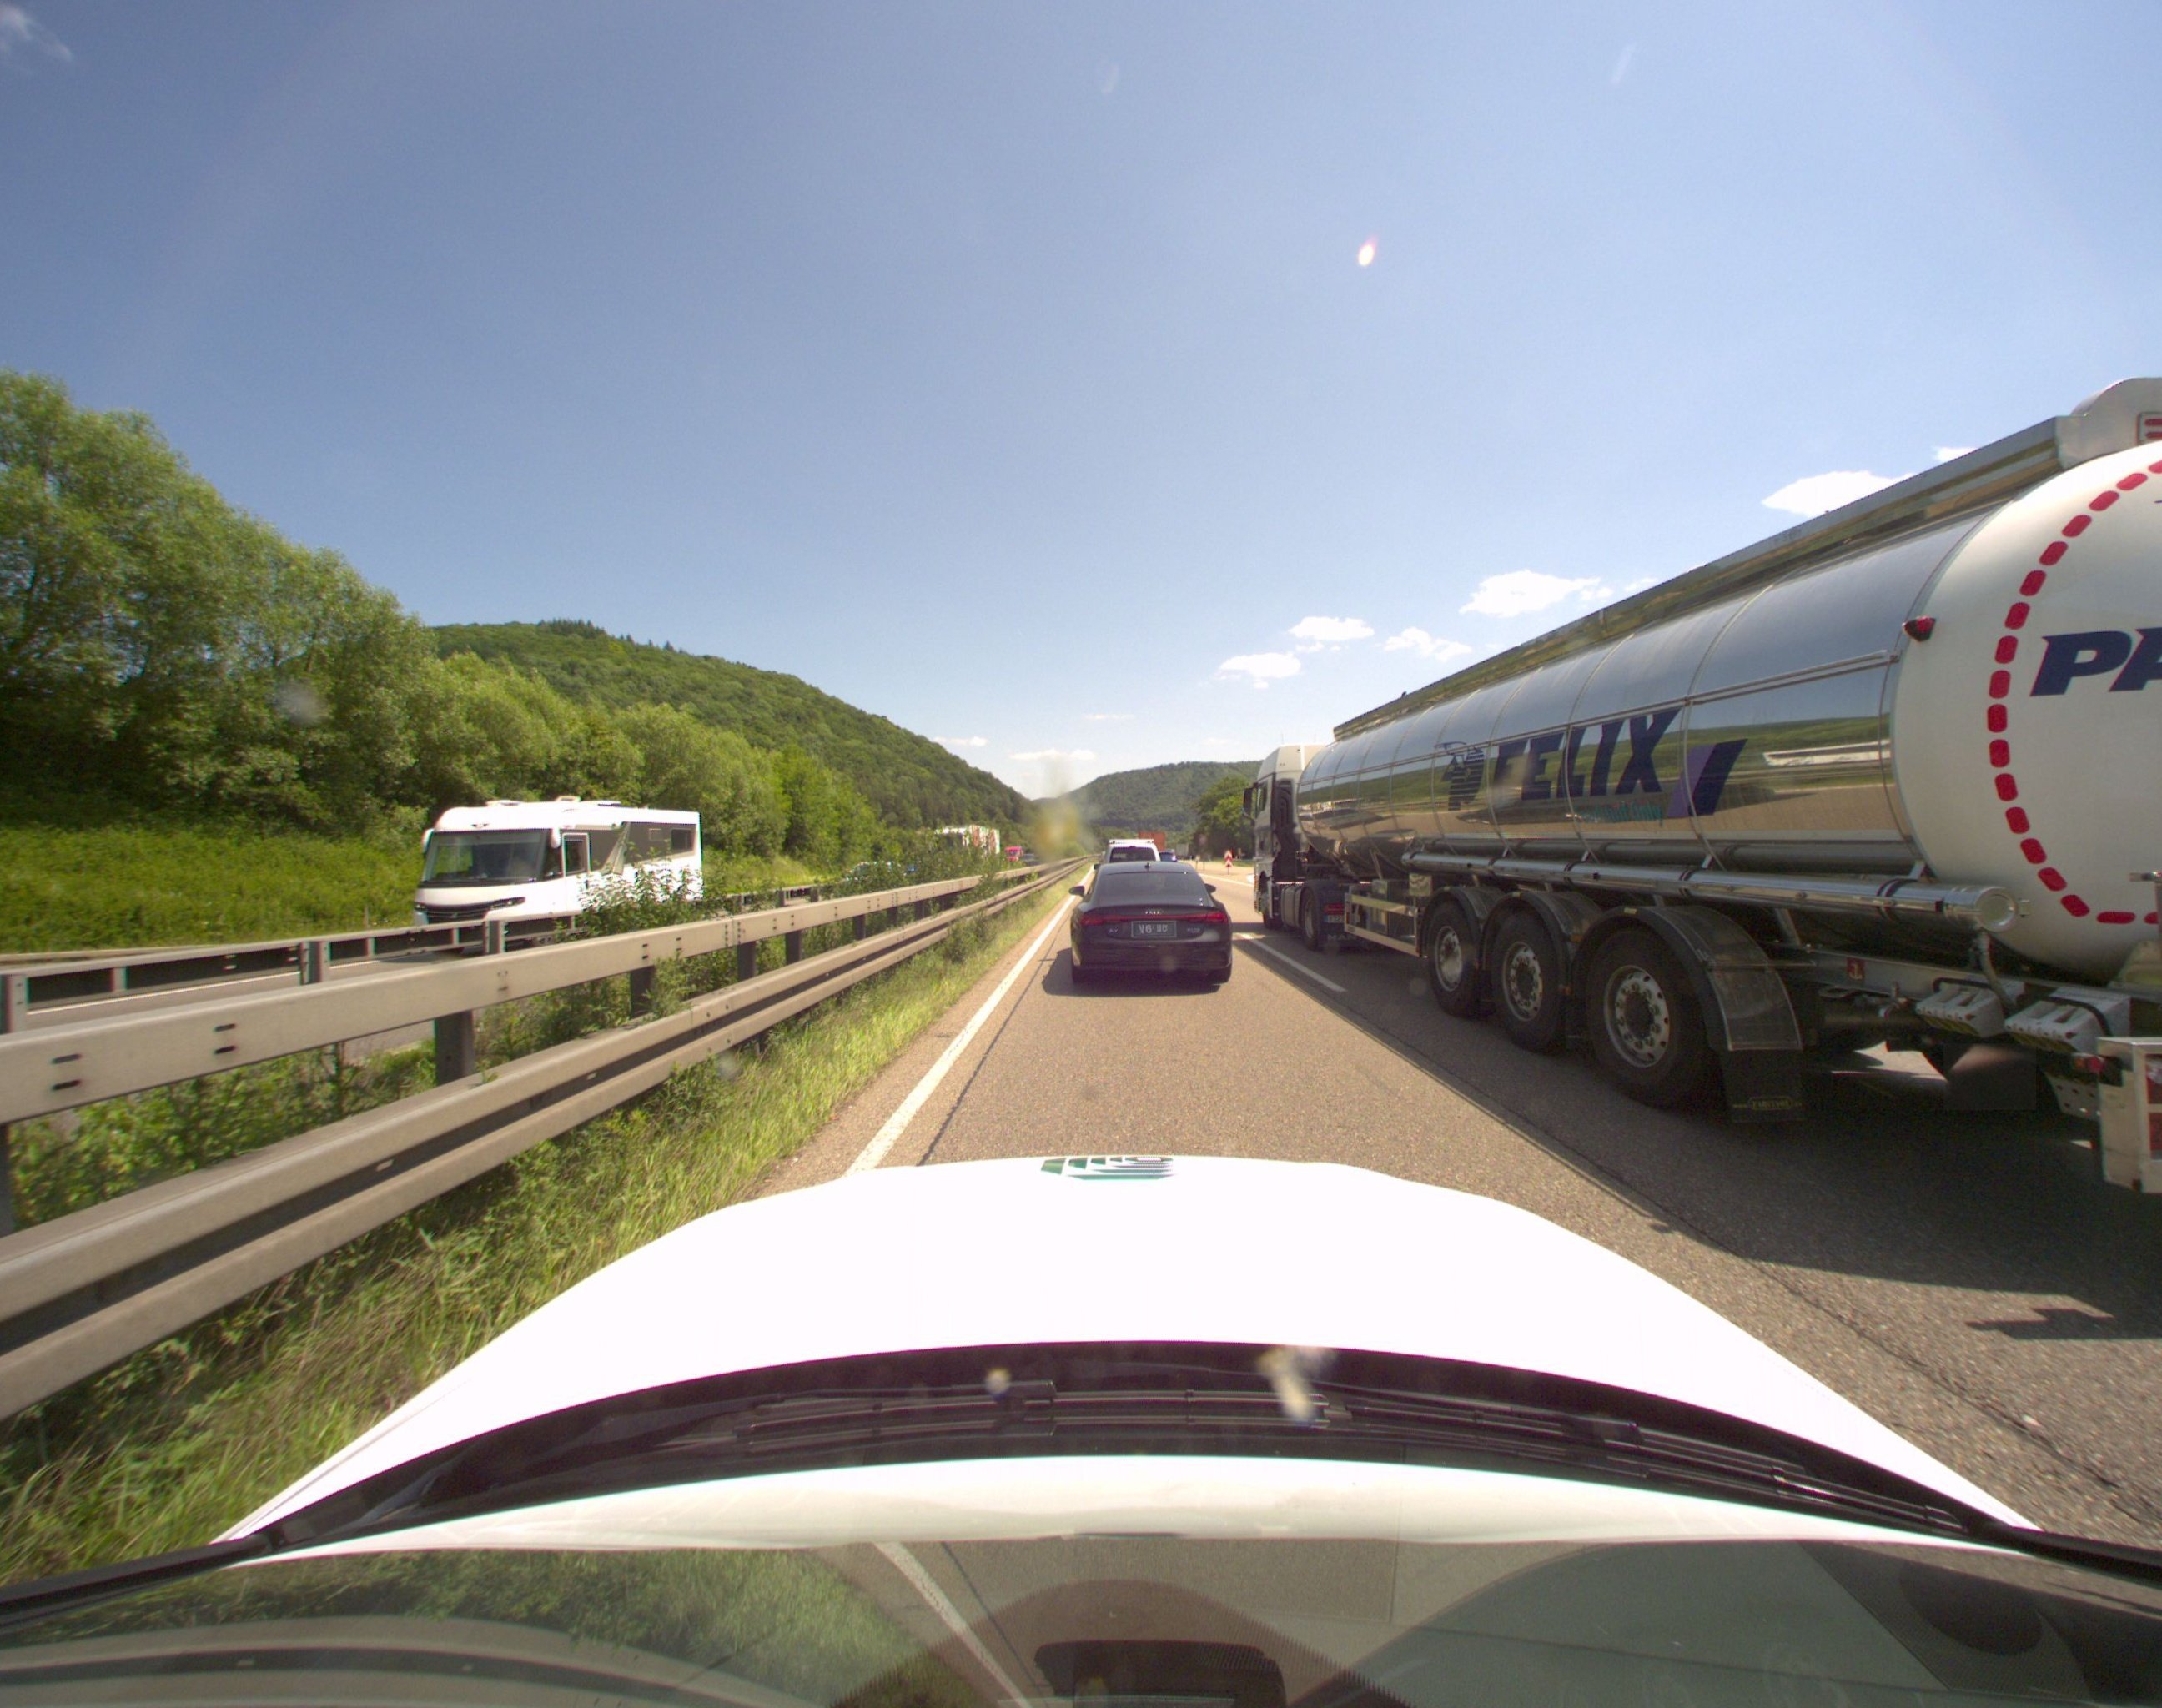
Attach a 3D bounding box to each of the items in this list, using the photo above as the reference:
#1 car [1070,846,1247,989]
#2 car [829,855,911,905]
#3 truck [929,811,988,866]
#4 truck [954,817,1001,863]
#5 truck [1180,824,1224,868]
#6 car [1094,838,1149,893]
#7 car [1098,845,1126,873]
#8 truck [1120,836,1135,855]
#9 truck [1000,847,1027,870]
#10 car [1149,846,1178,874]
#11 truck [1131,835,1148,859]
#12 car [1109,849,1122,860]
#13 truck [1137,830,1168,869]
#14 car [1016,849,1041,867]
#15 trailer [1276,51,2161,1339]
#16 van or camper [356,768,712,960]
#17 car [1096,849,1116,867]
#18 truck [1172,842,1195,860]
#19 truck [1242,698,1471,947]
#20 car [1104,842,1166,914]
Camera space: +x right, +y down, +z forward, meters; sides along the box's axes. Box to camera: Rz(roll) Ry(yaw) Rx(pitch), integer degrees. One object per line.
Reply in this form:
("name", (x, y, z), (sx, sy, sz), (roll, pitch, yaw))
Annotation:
("car", (0.800, 0.672, 10.694), (1.844, 1.488, 4.080), (-1, 0, -1))
("car", (-7.633, 0.898, 29.833), (1.763, 1.653, 4.002), (-1, 0, 2))
("truck", (-9.534, -1.166, 64.786), (2.859, 4.006, 10.174), (-1, 0, 1))
("truck", (-9.327, -1.211, 74.454), (2.859, 3.980, 9.034), (-1, 0, 1))
("truck", (11.911, -0.757, 81.429), (2.806, 4.003, 14.965), (-1, 0, 3))
("car", (1.559, 0.425, 31.856), (1.986, 2.013, 4.002), (-1, 0, 2))
("car", (2.337, 0.335, 62.121), (1.986, 2.013, 4.001), (-2, 0, 1))
("truck", (8.950, -1.547, 157.105), (2.618, 3.440, 11.427), (-2, 0, 2))
("truck", (-8.029, 0.525, 97.435), (2.287, 2.588, 7.971), (-1, 0, 2))
("car", (6.253, 0.468, 62.019), (1.985, 2.002, 4.003), (-2, 0, 3))
("truck", (8.558, -0.991, 120.453), (1.986, 3.447, 11.817), (-1, 0, 2))
("car", (5.118, 0.059, 120.492), (1.705, 1.618, 4.003), (-2, 0, 3))
("truck", (7.767, -0.481, 90.477), (2.806, 4.003, 14.965), (-1, 0, 3))
("car", (-5.120, 0.396, 80.116), (1.986, 1.641, 5.034), (-1, 0, 2))
("trailer", (4.540, -0.475, 8.221), (2.529, 3.735, 11.894), (-1, 0, 1))
("van or camper", (-11.434, 0.172, 18.259), (2.580, 3.335, 7.650), (-2, 0, 1))
("car", (2.361, 0.362, 75.530), (1.705, 1.618, 4.003), (-2, 0, 3))
("truck", (25.807, -0.736, 203.754), (3.766, 4.414, 15.012), (-2, 0, 14))
("truck", (4.707, -0.484, 14.993), (2.502, 3.758, 5.247), (-1, 0, 1))
("car", (1.451, 0.610, 22.963), (1.570, 1.833, 4.002), (-1, 0, 2))
